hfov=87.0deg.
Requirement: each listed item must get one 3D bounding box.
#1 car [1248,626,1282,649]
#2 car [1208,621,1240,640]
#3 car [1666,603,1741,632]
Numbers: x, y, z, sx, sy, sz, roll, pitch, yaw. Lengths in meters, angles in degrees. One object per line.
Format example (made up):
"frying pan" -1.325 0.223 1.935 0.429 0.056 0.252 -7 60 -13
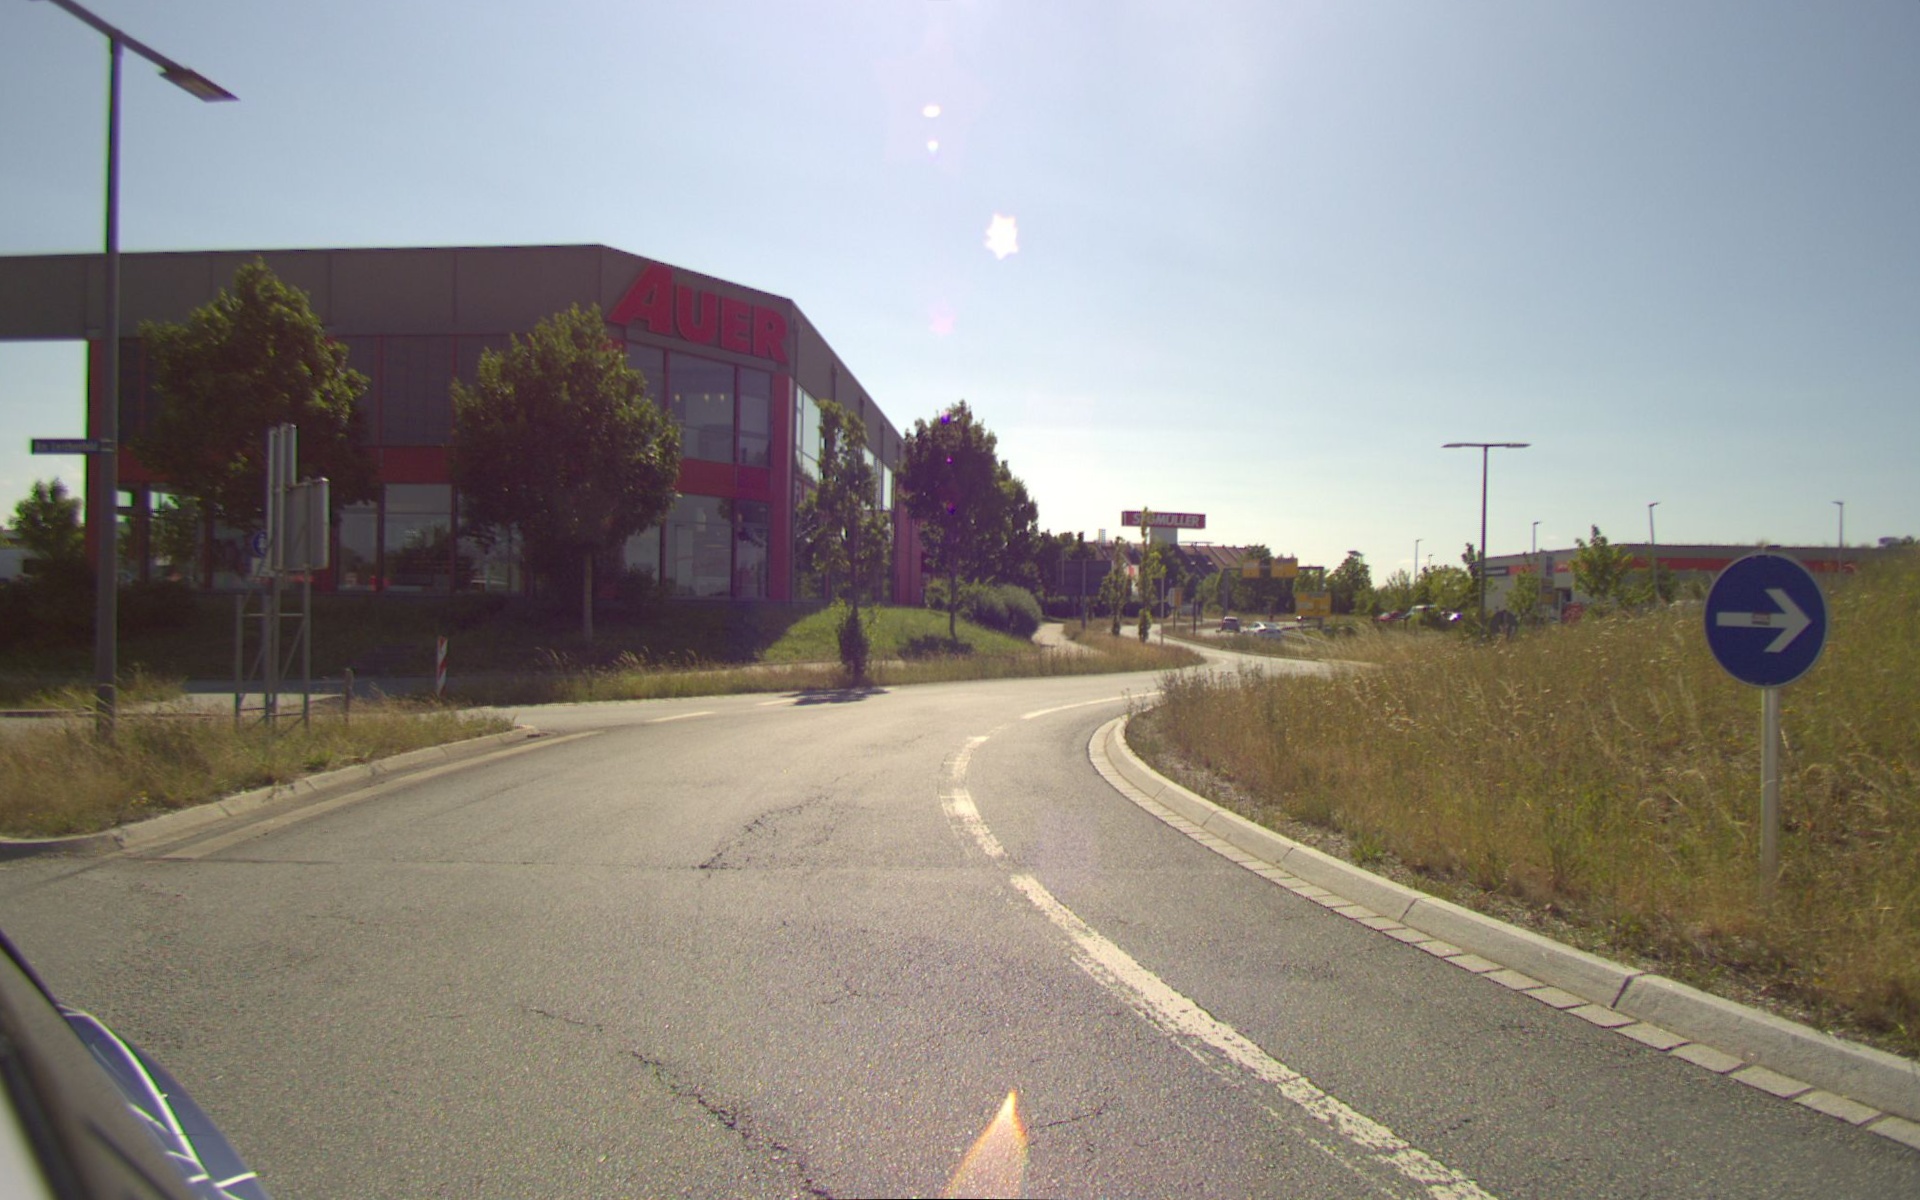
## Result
"car" 22.648 2.779 75.249 1.707 1.586 4.267 0 -1 8
"car" 26.271 3.046 100.779 1.665 1.786 3.775 1 -1 -8
"car" 54.218 1.255 73.866 3.946 2.029 1.999 0 -1 2
